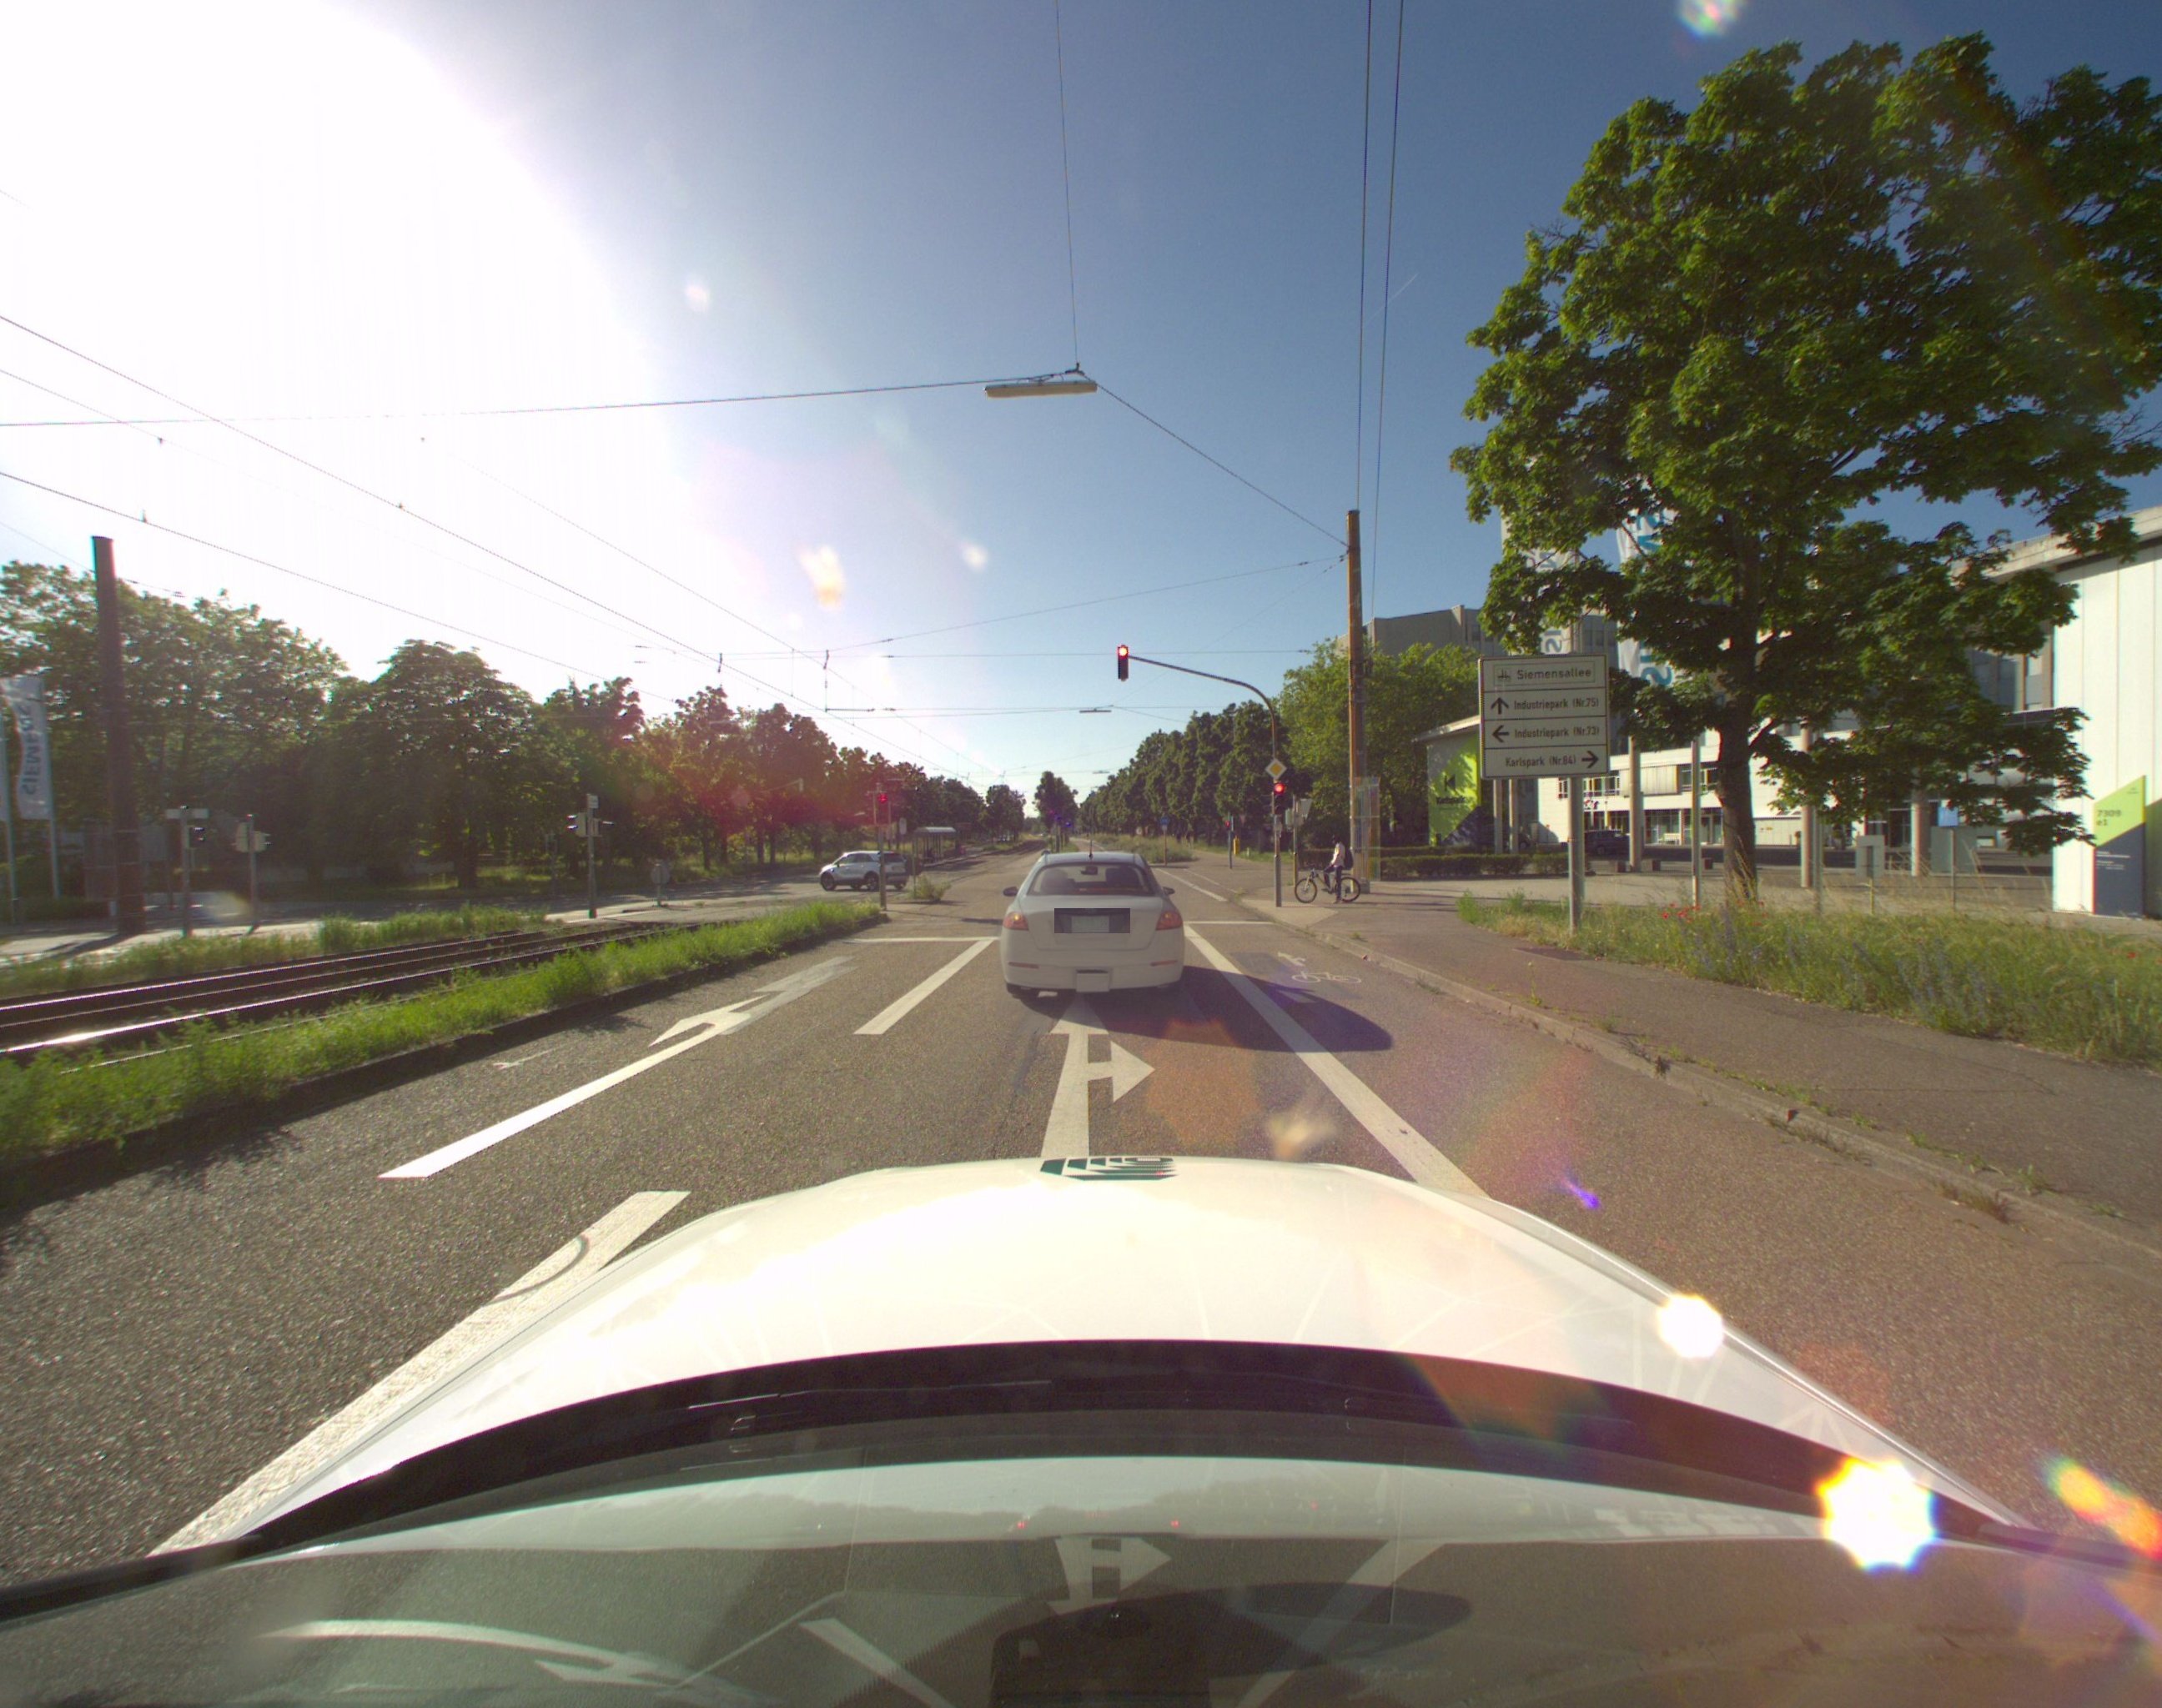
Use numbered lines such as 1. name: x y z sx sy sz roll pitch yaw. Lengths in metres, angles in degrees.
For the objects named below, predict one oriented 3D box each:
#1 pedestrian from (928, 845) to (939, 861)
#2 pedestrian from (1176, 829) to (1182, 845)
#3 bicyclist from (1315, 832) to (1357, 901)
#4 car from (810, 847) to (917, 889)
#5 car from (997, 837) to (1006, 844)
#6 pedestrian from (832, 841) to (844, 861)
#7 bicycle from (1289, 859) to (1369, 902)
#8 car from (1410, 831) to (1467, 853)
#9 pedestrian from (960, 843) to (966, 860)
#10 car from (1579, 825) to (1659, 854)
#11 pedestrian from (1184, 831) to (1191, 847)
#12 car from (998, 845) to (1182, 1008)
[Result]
1. pedestrian: -12.317 -0.091 68.032 0.718 1.246 0.710 -2 0 0
2. pedestrian: 10.103 -1.737 83.962 0.565 1.596 0.665 0 0 -2
3. bicyclist: 6.650 0.315 21.261 0.904 1.745 0.767 -3 0 12
4. car: -8.978 0.570 33.588 4.200 1.606 1.869 -1 0 32
5. car: -20.794 -3.405 213.469 1.761 1.738 3.999 -1 0 0
6. pedestrian: -24.209 -0.298 81.126 0.837 2.013 0.863 -1 0 0
7. bicycle: 6.460 0.694 21.304 1.907 0.998 0.767 -3 -1 12
8. car: 30.095 -1.020 68.618 3.988 1.757 1.993 -1 0 -11
9. pedestrian: -11.964 -0.270 82.672 0.502 1.675 0.386 -1 0 -10
10. car: 33.858 -0.937 51.304 3.984 1.720 1.895 -1 1 -8
11. pedestrian: 10.949 -1.544 83.906 0.676 1.610 0.720 0 0 -1
12. car: 0.172 0.662 9.601 1.700 1.508 4.003 -1 0 2
